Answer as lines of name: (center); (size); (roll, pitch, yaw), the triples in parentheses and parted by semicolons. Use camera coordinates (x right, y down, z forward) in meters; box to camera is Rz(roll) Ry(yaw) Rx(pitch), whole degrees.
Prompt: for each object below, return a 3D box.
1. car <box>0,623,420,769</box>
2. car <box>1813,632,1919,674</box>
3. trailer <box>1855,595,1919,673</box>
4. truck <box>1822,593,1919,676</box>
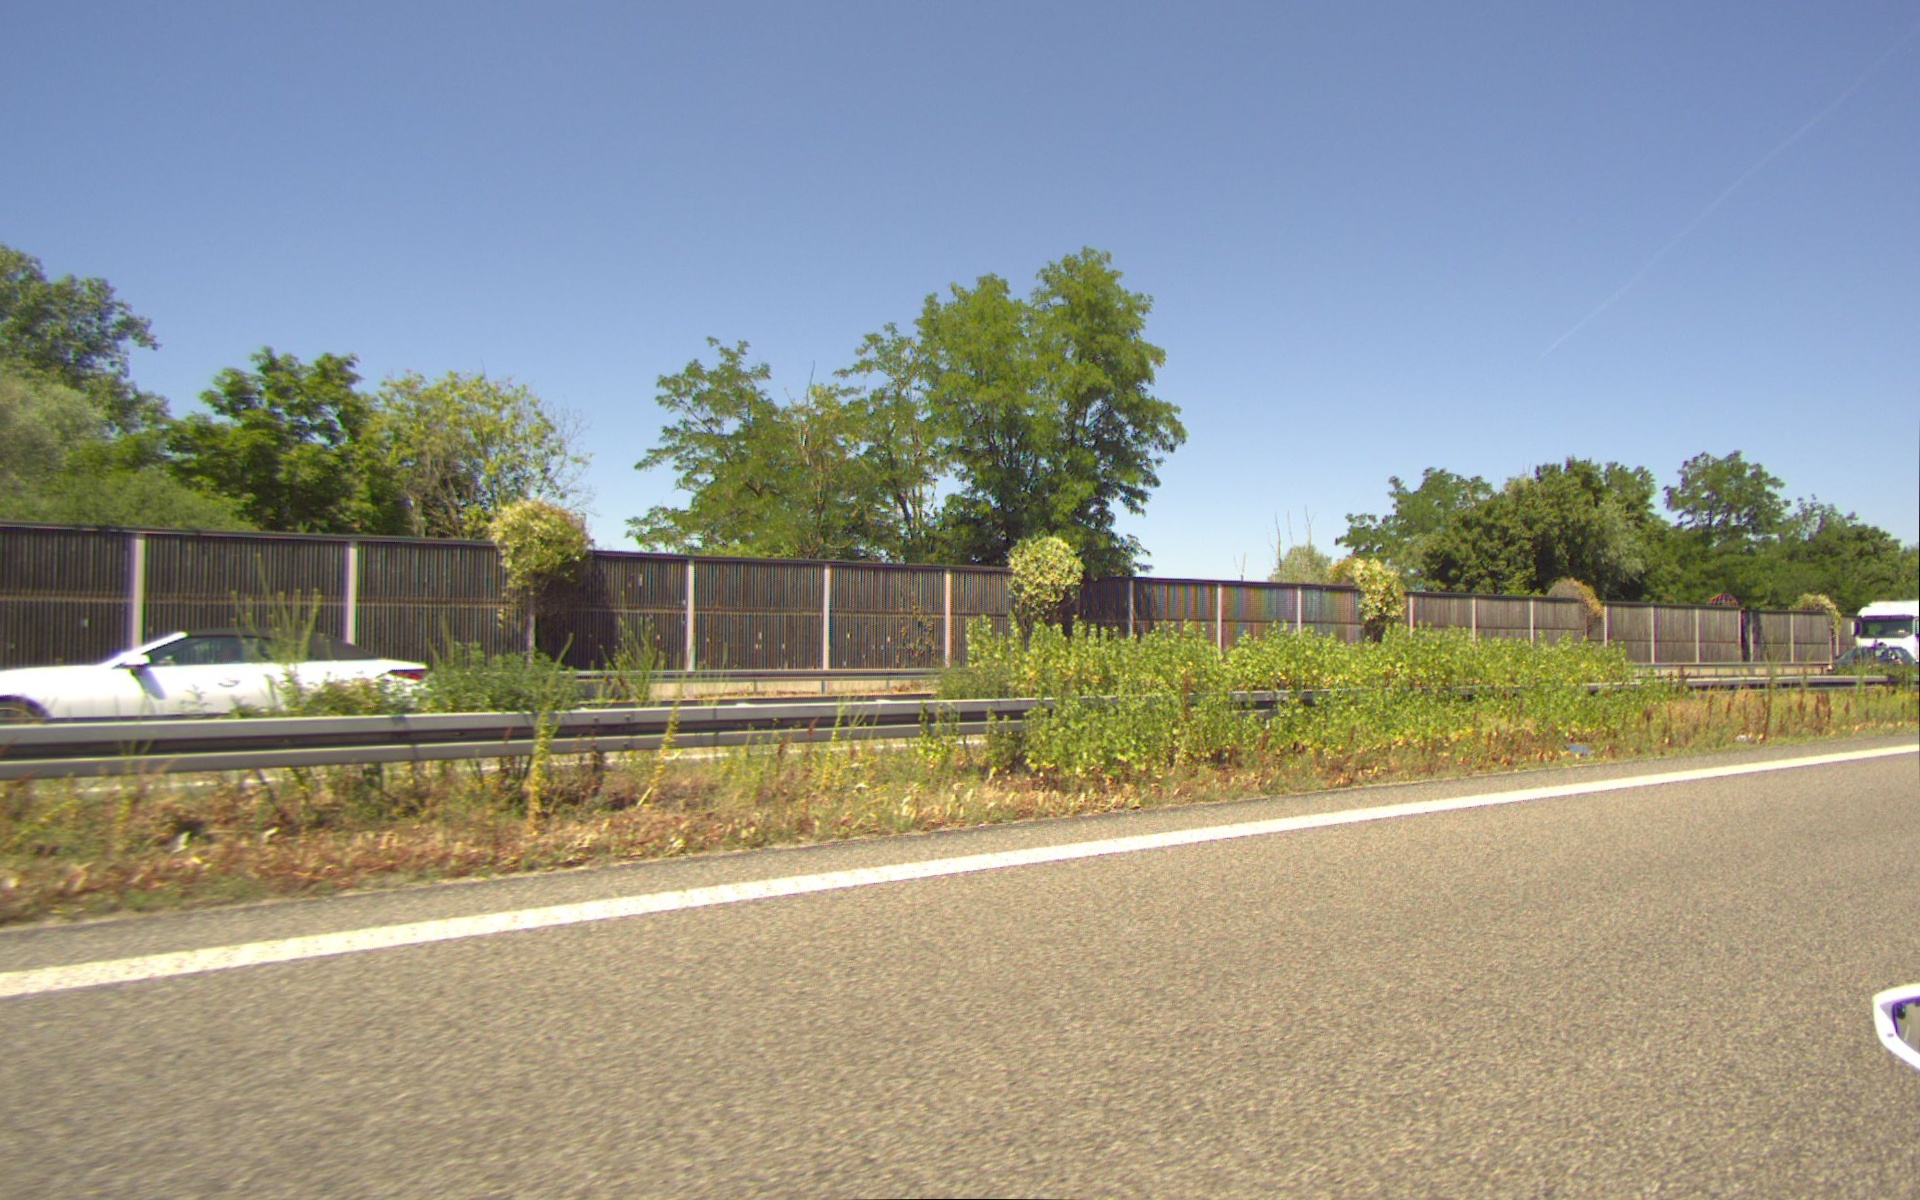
car: (-8.710, 1.011, 11.454); (4.446, 1.431, 1.769); (2, -2, -30)
car: (36.393, 2.097, 40.251); (4.453, 1.617, 1.984); (2, -2, -30)
trailer: (56.007, 1.987, 57.353); (12.645, 4.157, 3.594); (2, -2, -30)
truck: (50.127, 1.883, 53.861); (7.746, 4.157, 3.565); (2, -2, -30)
